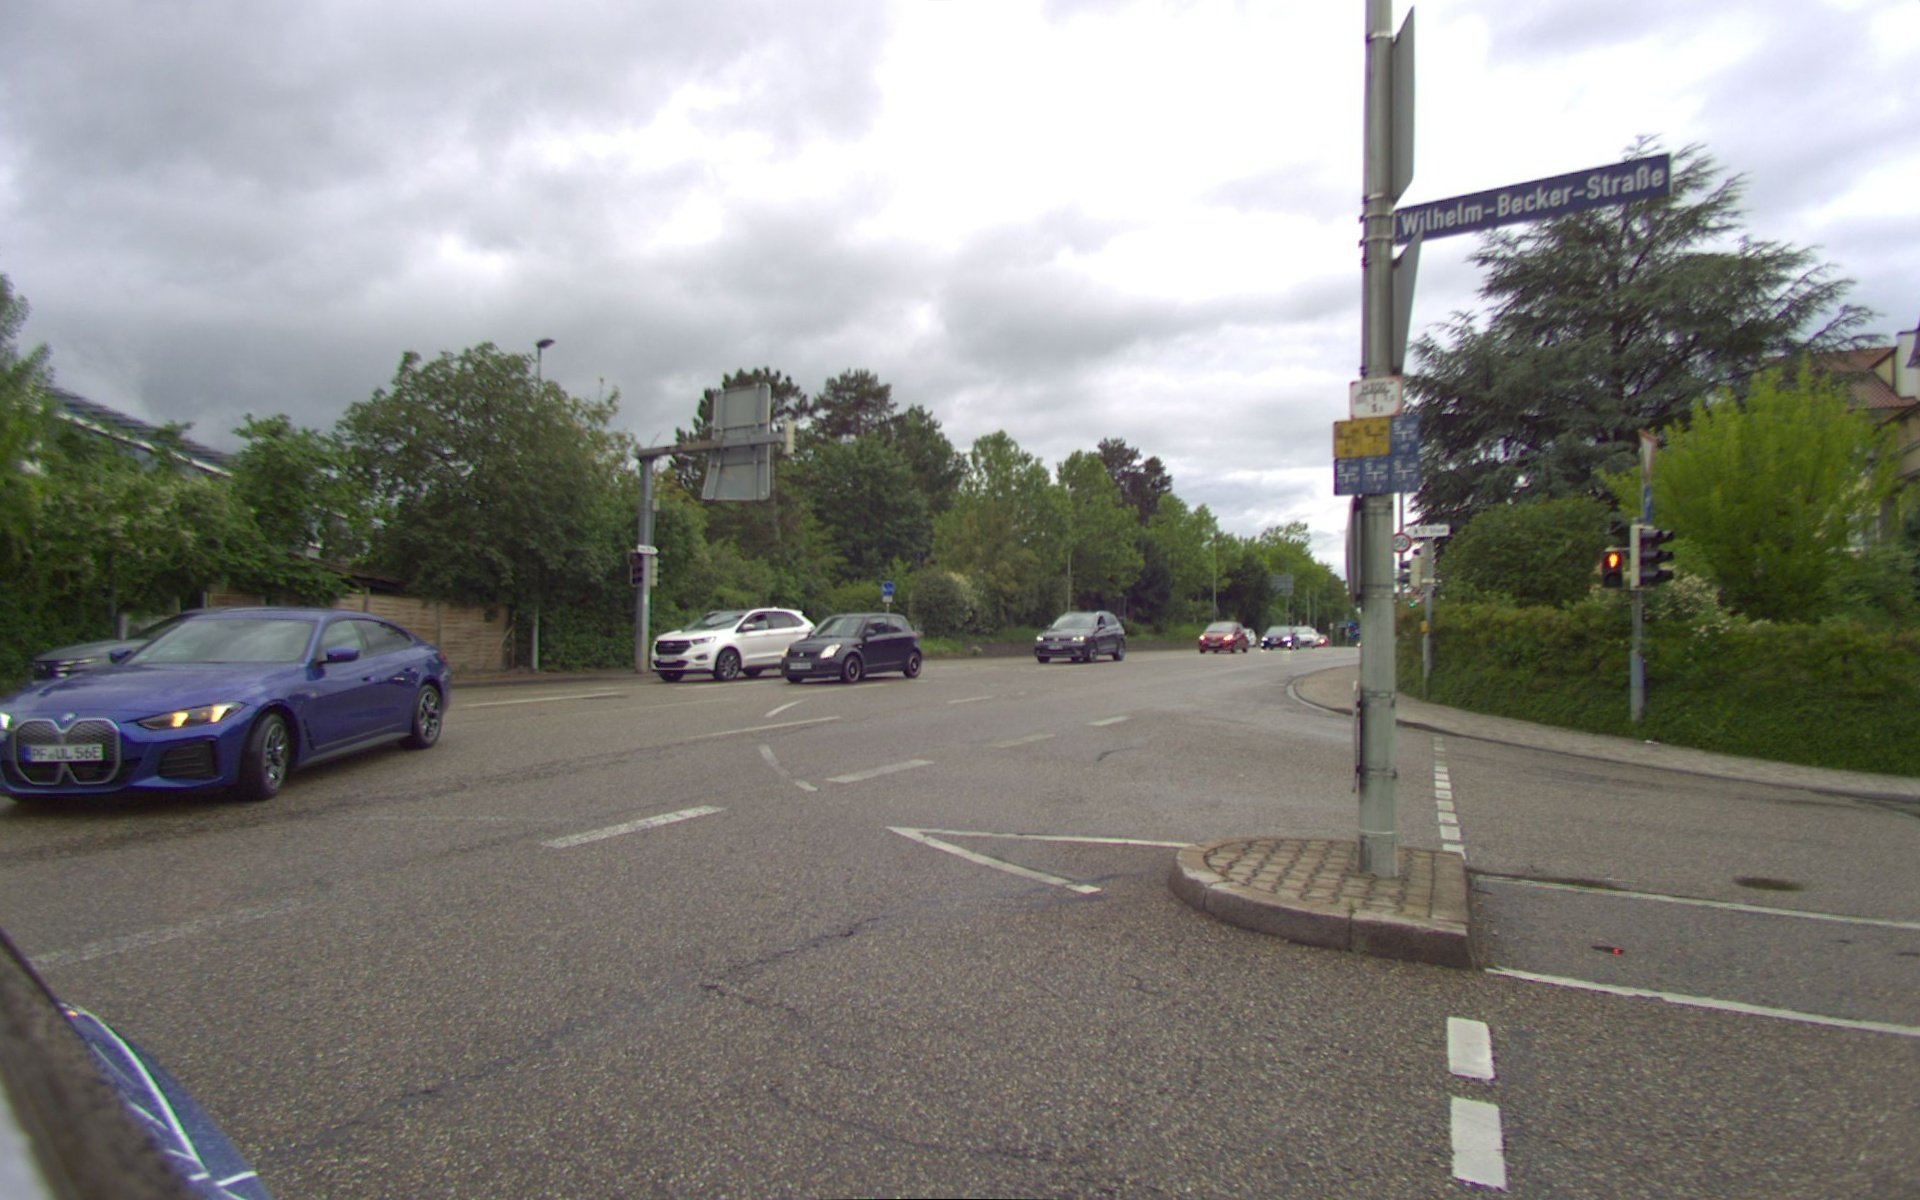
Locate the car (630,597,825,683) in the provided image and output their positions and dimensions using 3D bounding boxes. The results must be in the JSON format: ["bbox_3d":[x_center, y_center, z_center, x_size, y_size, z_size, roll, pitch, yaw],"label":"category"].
[{"bbox_3d":[-5.362,0.851,23.980,1.991,1.804,4.634,-1,0,28],"label":"car"}]

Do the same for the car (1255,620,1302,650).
[{"bbox_3d":[18.866,2.061,59.854,1.861,1.614,3.960,-1,0,29],"label":"car"}]

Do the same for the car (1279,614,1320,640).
[{"bbox_3d":[22.640,1.776,67.401,1.861,1.614,3.960,-1,0,29],"label":"car"}]

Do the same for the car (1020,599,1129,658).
[{"bbox_3d":[3.795,0.868,32.871,1.961,1.763,4.263,-1,0,30],"label":"car"}]

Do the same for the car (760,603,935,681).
[{"bbox_3d":[-2.375,0.847,22.288,1.742,1.530,3.956,-1,0,32],"label":"car"}]

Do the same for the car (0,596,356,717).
[{"bbox_3d":[-12.365,0.783,16.242,1.895,1.652,4.298,-1,0,25],"label":"car"}]

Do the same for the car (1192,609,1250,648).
[{"bbox_3d":[12.470,1.334,48.290,1.860,1.739,3.963,-1,0,27],"label":"car"}]

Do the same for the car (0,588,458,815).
[{"bbox_3d":[-6.305,0.707,8.923,1.886,1.507,4.353,0,-1,-4],"label":"car"}]
